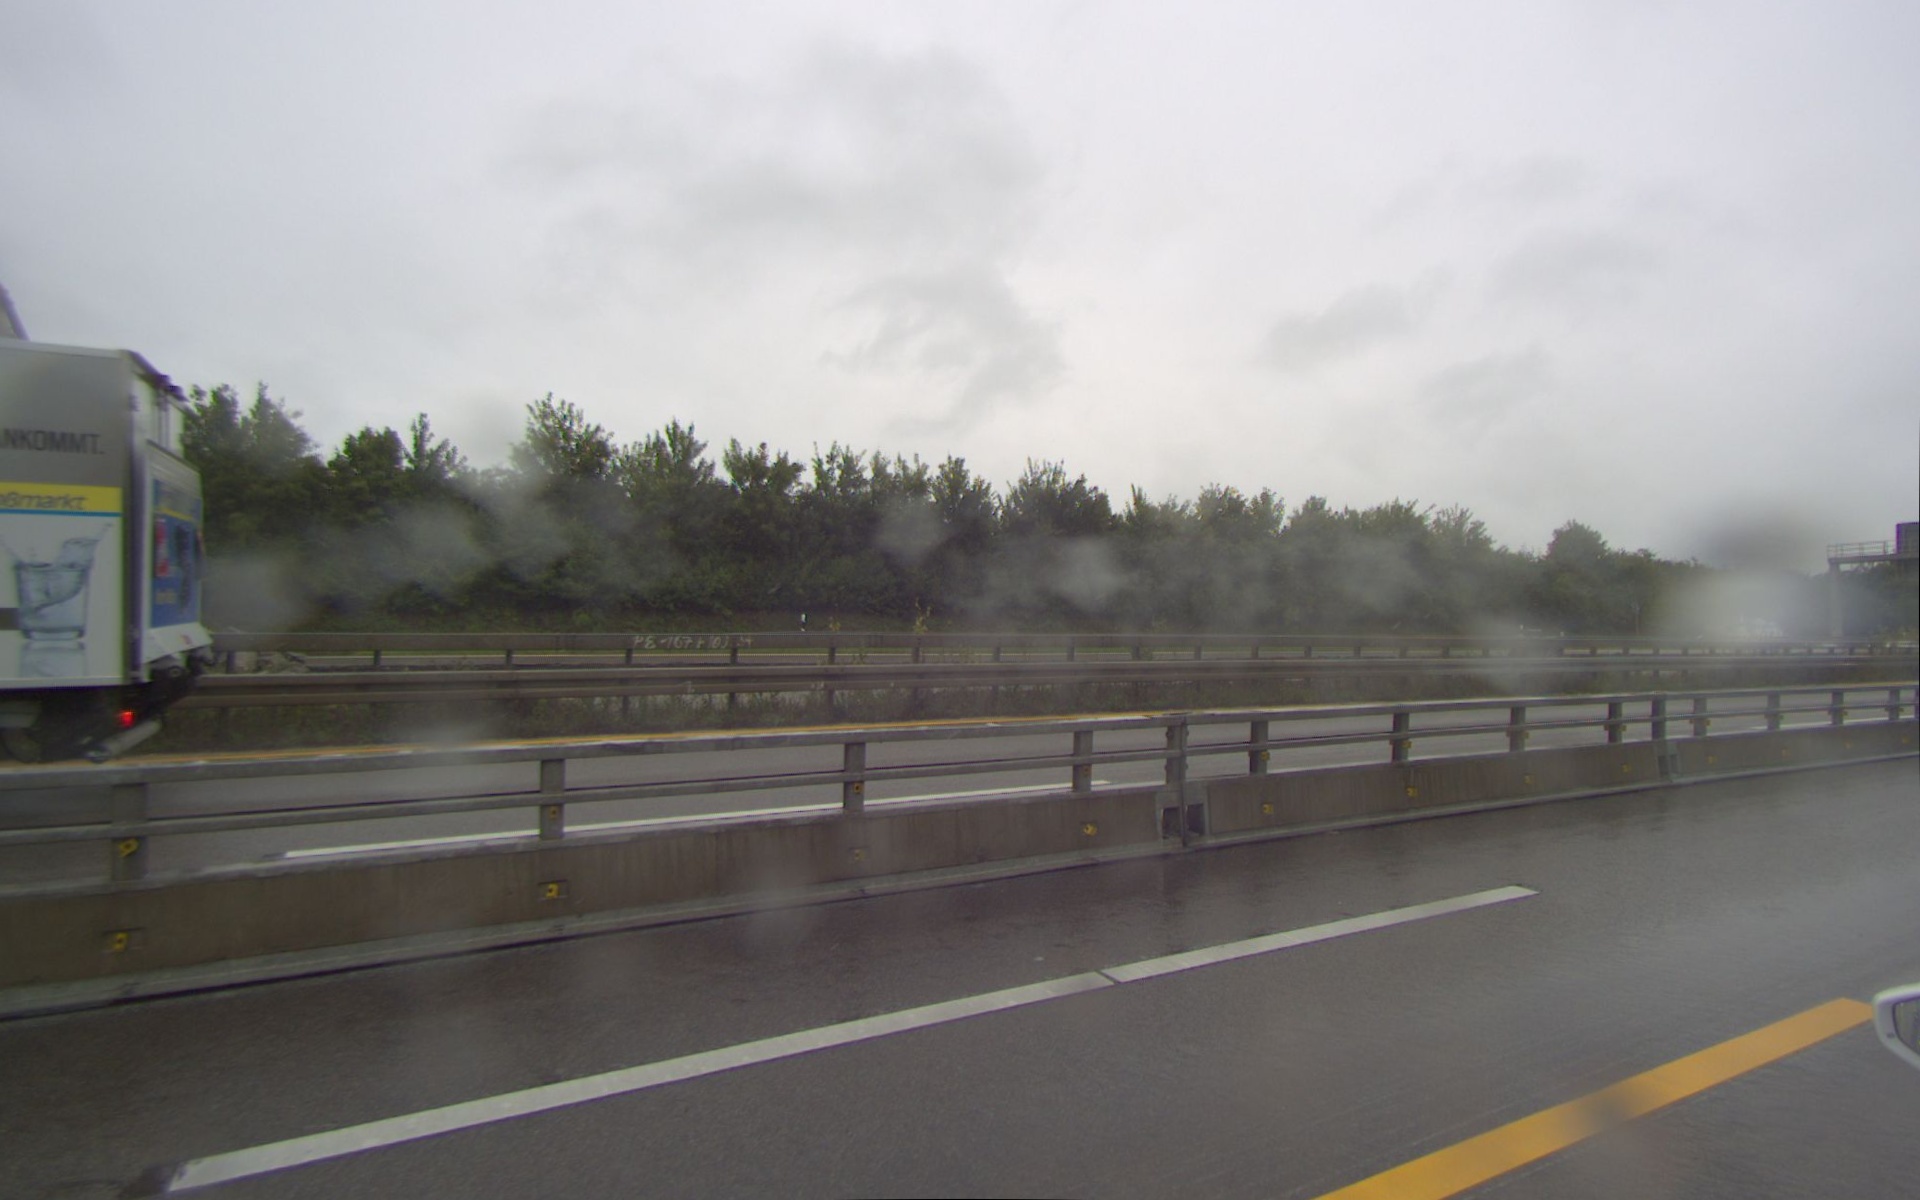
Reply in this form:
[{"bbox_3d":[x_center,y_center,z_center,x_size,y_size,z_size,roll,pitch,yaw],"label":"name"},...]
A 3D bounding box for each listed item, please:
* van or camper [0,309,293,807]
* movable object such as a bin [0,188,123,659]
[{"bbox_3d":[-8.229,-0.344,6.192,6.621,3.082,2.282,2,0,-30],"label":"van or camper"},{"bbox_3d":[-20.562,-3.238,17.650,8.207,8.252,3.580,2,0,-29],"label":"movable object such as a bin"}]
